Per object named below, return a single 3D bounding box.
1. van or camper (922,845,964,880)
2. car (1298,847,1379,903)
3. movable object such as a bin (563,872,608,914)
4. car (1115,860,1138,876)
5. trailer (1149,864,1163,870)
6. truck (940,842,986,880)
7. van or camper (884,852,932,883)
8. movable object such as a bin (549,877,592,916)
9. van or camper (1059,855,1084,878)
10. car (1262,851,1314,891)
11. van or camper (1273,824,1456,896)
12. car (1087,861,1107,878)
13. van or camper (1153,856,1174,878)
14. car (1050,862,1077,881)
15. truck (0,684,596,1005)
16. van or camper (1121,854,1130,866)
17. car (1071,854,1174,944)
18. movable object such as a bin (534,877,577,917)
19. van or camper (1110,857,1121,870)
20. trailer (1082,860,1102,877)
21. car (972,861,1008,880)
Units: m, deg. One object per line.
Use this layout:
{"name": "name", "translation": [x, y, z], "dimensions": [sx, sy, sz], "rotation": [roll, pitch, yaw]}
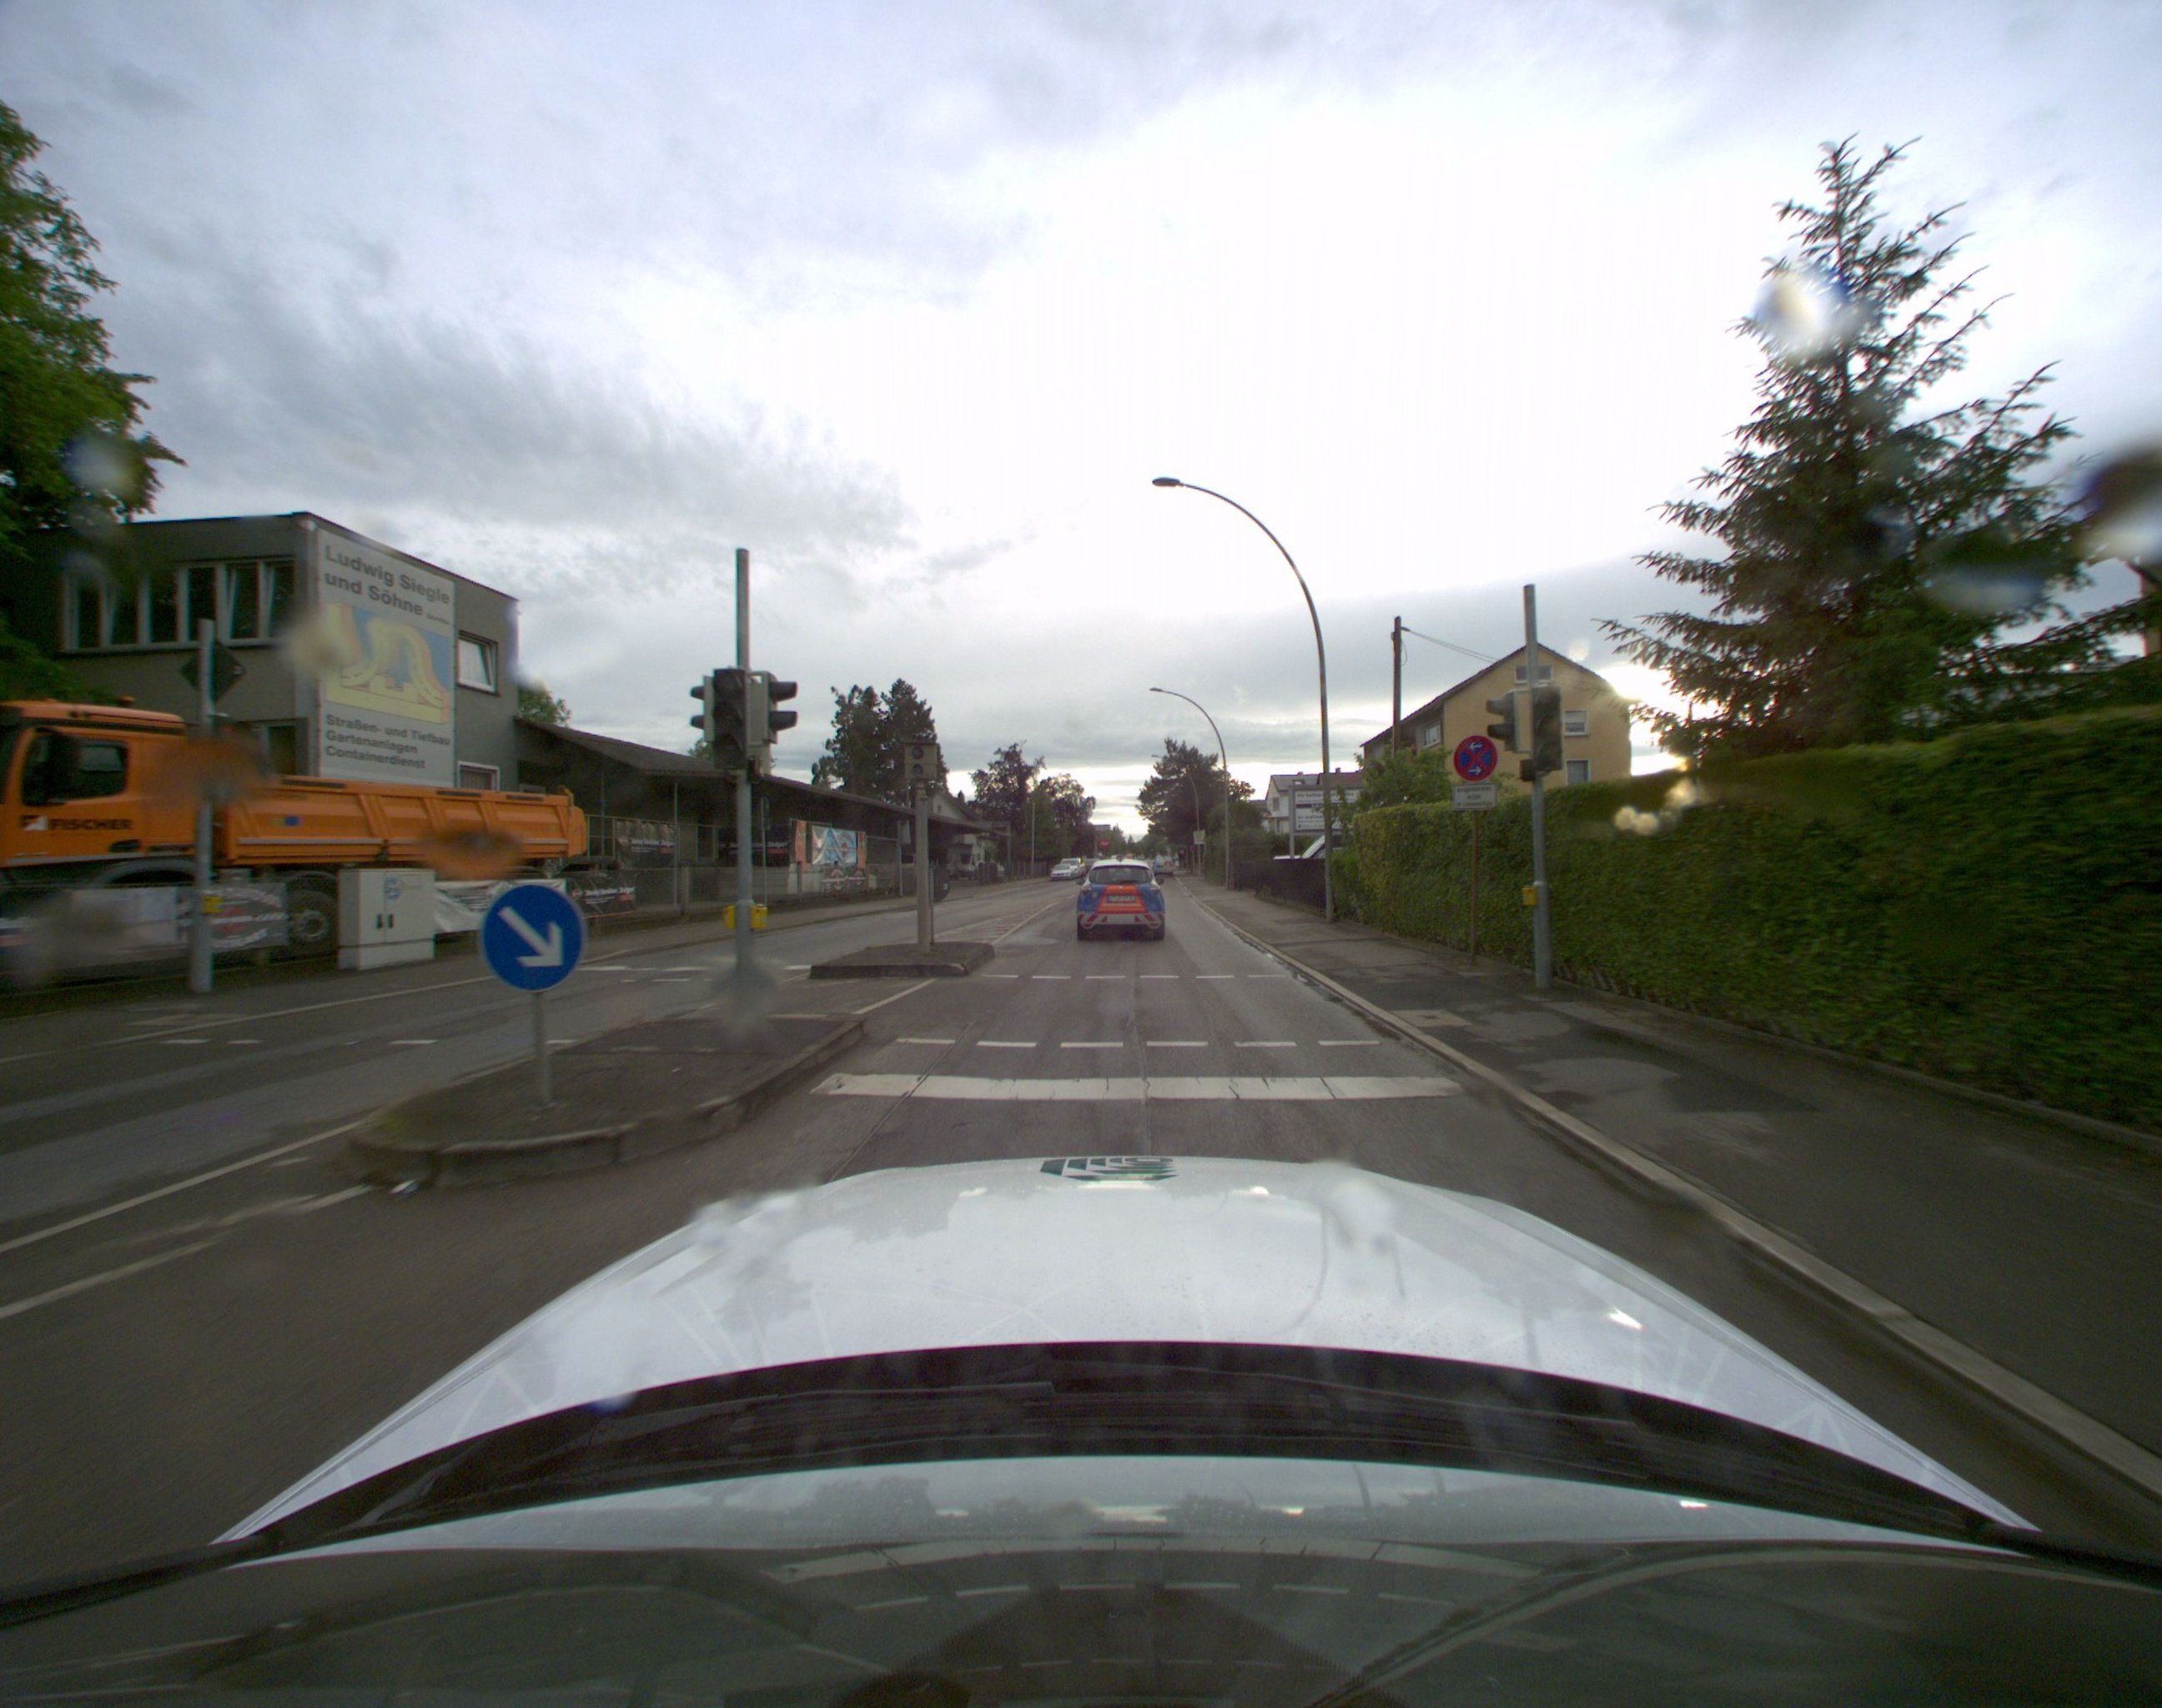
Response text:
{"name": "van or camper", "translation": [-10.306, 0.704, 61.164], "dimensions": [1.851, 2.438, 5.237], "rotation": [2, -2, 4]}
{"name": "car", "translation": [7.968, 0.706, 25.574], "dimensions": [1.652, 1.567, 4.575], "rotation": [1, -2, 8]}
{"name": "movable object such as a bin", "translation": [-12.900, 1.004, 21.210], "dimensions": [0.760, 1.056, 0.625], "rotation": [-1, -1, 4]}
{"name": "car", "translation": [4.550, 1.407, 81.411], "dimensions": [1.983, 1.420, 4.008], "rotation": [-2, 0, 7]}
{"name": "trailer", "translation": [10.635, 1.856, 116.082], "dimensions": [1.930, 0.754, 2.862], "rotation": [-1, 0, 4]}
{"name": "truck", "translation": [-9.583, 0.631, 66.859], "dimensions": [2.383, 2.927, 5.964], "rotation": [1, -1, 5]}
{"name": "van or camper", "translation": [-11.466, 0.885, 54.327], "dimensions": [1.985, 1.909, 4.474], "rotation": [1, -1, 3]}
{"name": "movable object such as a bin", "translation": [-12.931, 1.079, 20.637], "dimensions": [0.760, 0.956, 0.478], "rotation": [-1, -1, 4]}
{"name": "van or camper", "translation": [-0.844, 1.210, 76.109], "dimensions": [1.882, 2.014, 5.102], "rotation": [1, -2, 5]}
{"name": "car", "translation": [9.416, 0.826, 36.738], "dimensions": [2.105, 1.651, 5.256], "rotation": [1, -3, 16]}
{"name": "van or camper", "translation": [10.017, 0.252, 29.214], "dimensions": [5.877, 2.486, 2.134], "rotation": [0, -3, 4]}
{"name": "car", "translation": [1.552, 1.478, 77.670], "dimensions": [1.735, 1.451, 4.546], "rotation": [1, -2, 4]}
{"name": "van or camper", "translation": [7.503, 1.156, 74.196], "dimensions": [1.746, 1.883, 4.004], "rotation": [-1, -1, 4]}
{"name": "car", "translation": [-1.488, 1.548, 69.582], "dimensions": [1.734, 1.480, 4.189], "rotation": [-3, -3, 6]}
{"name": "truck", "translation": [-12.279, 0.064, 12.864], "dimensions": [2.683, 3.412, 9.089], "rotation": [1, -2, 8]}
{"name": "van or camper", "translation": [10.841, 1.456, 197.890], "dimensions": [1.985, 2.775, 5.446], "rotation": [-1, 0, 4]}
{"name": "car", "translation": [0.873, 0.853, 17.218], "dimensions": [1.881, 1.632, 4.003], "rotation": [-1, -1, 3]}
{"name": "movable object such as a bin", "translation": [-12.987, 1.064, 20.134], "dimensions": [0.745, 0.956, 0.461], "rotation": [-1, -1, 4]}
{"name": "van or camper", "translation": [6.687, 1.832, 157.656], "dimensions": [2.151, 2.353, 4.338], "rotation": [-1, -1, 4]}
{"name": "trailer", "translation": [1.402, 1.820, 103.221], "dimensions": [2.211, 2.014, 4.439], "rotation": [1, -2, 3]}
{"name": "car", "translation": [-7.170, 1.351, 64.829], "dimensions": [1.927, 1.444, 4.788], "rotation": [0, -1, 5]}
